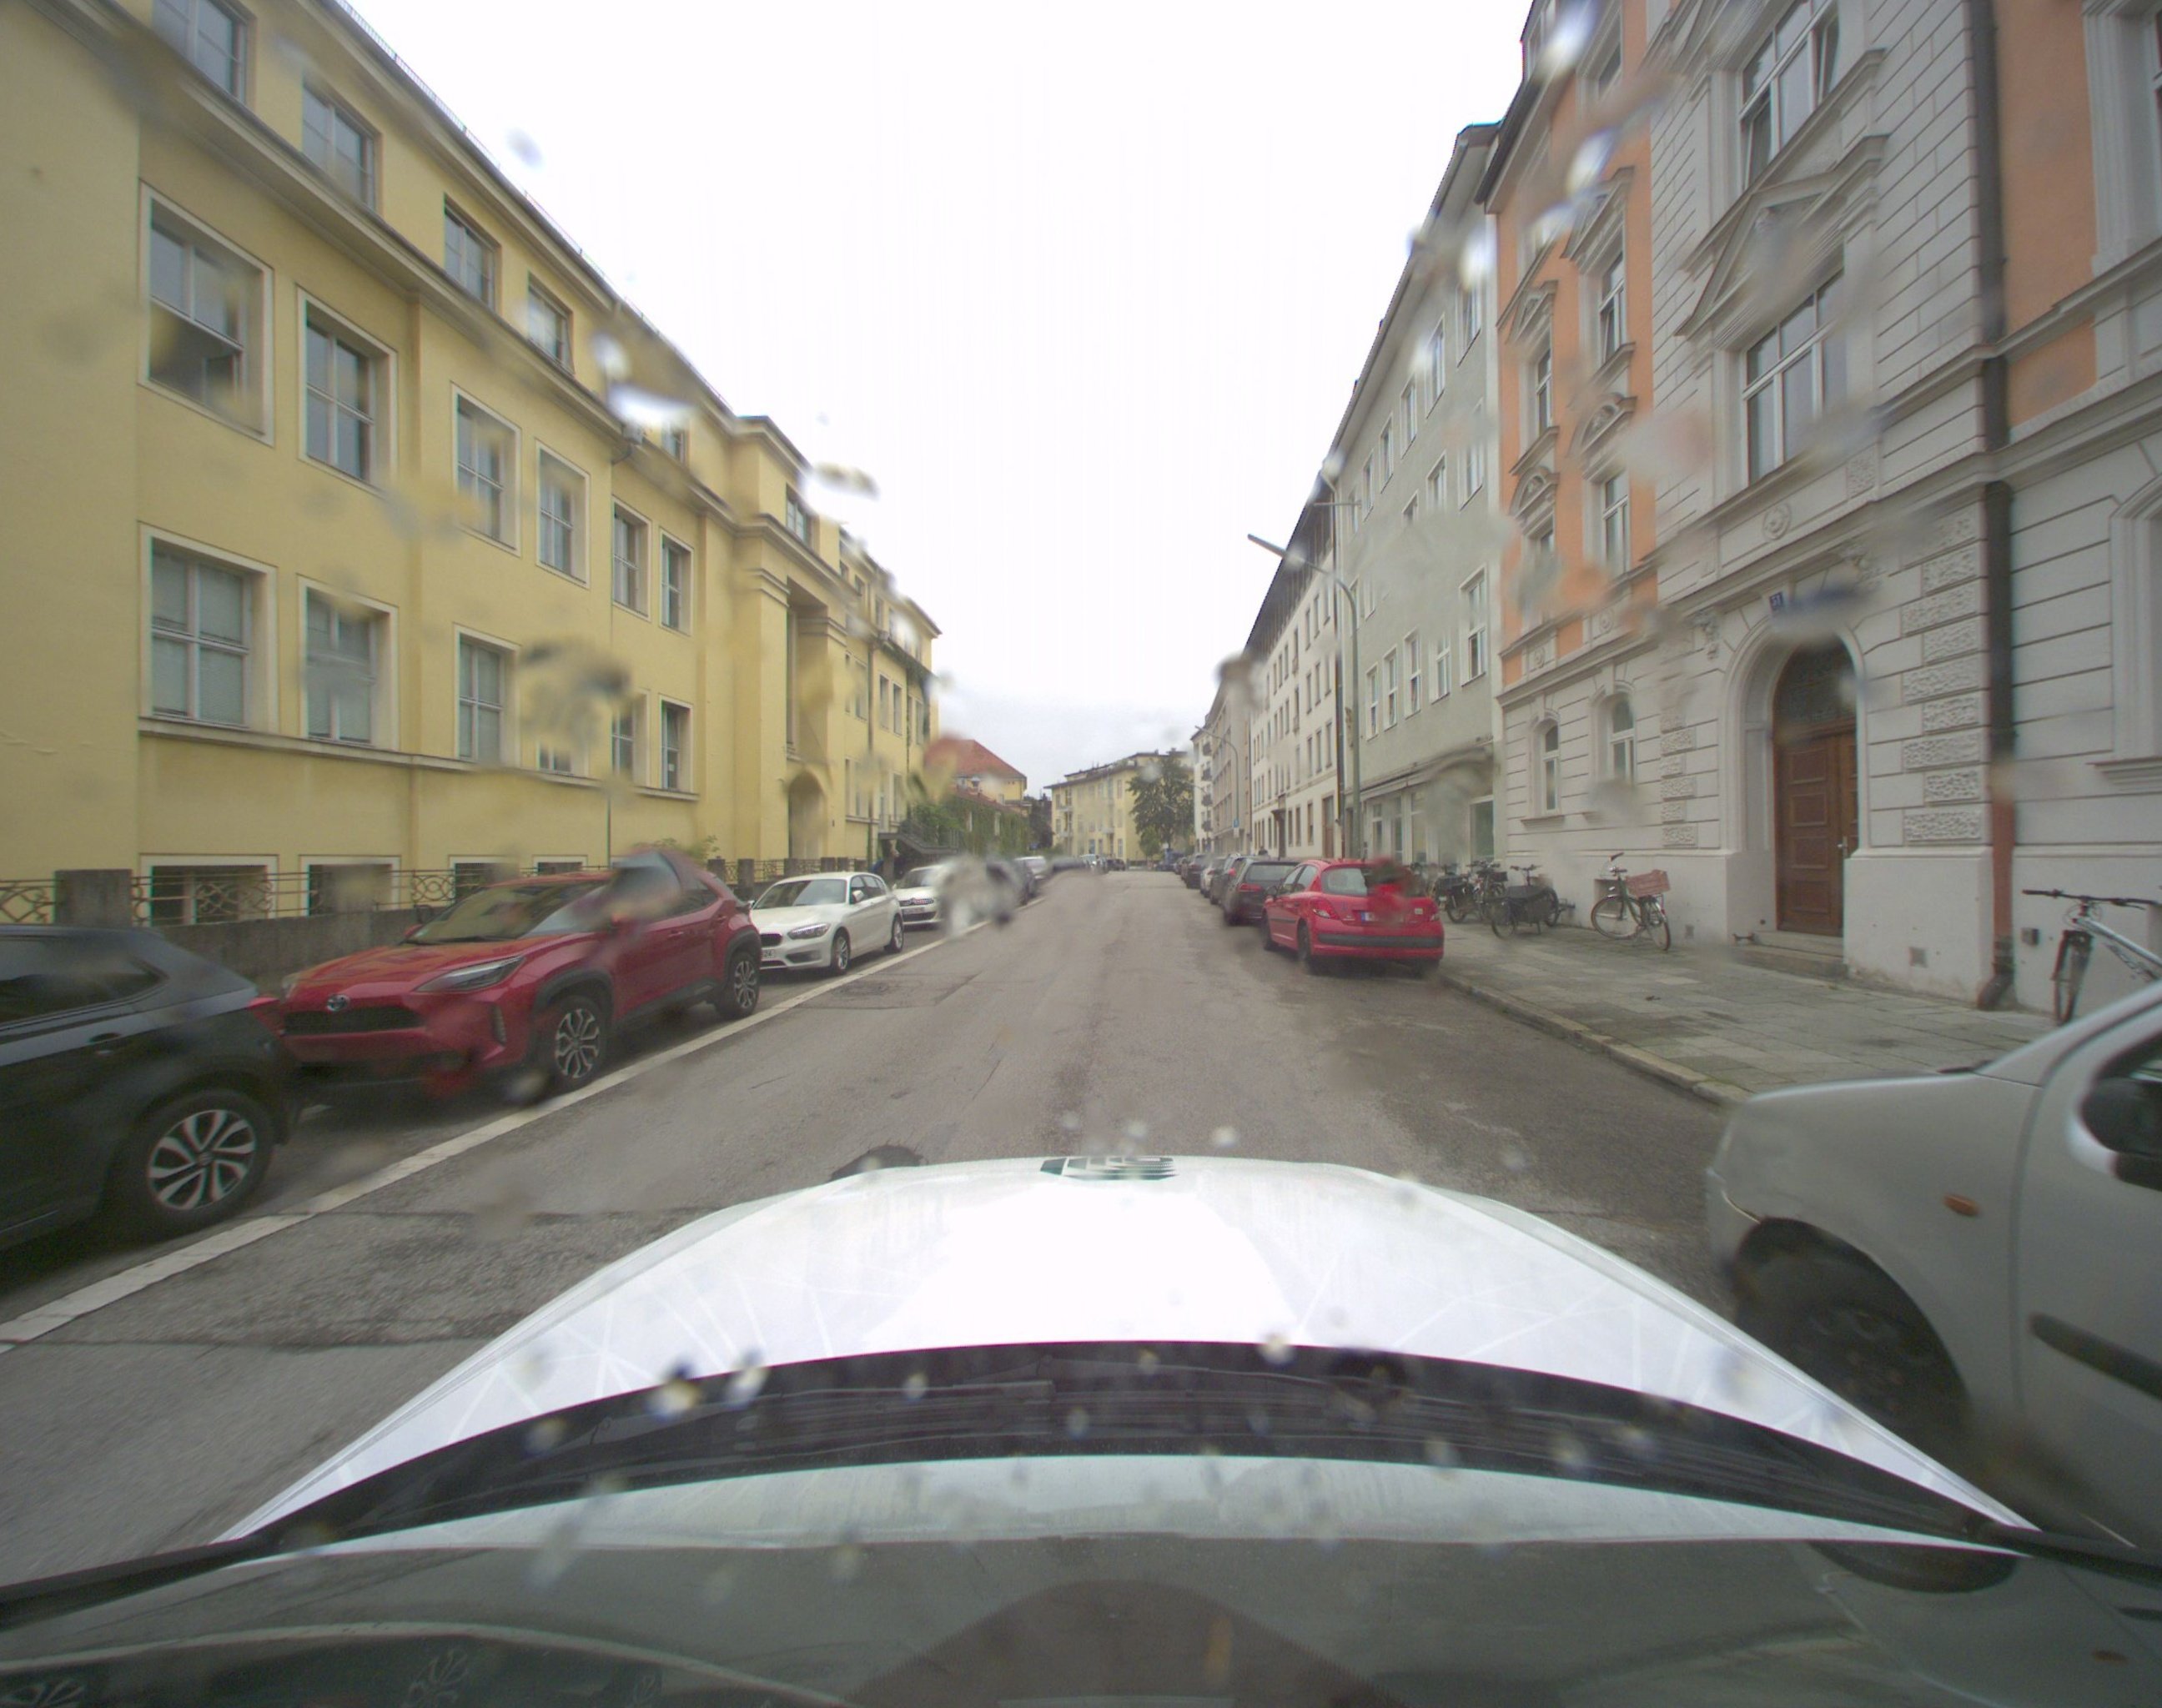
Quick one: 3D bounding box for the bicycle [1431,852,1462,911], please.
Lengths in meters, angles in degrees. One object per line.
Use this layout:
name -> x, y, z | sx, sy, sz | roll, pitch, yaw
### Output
bicycle -> 8.021, 0.589, 17.884 | 0.247, 1.255, 0.916 | -1, 0, 0

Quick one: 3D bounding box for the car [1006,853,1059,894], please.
car -> -2.052, 0.819, 35.588 | 1.738, 1.634, 4.859 | -2, -1, 2

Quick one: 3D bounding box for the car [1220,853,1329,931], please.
car -> 3.861, 0.680, 16.893 | 1.679, 1.402, 4.372 | 0, 0, 6

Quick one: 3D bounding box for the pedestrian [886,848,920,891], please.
pedestrian -> -7.257, 0.626, 33.244 | 0.894, 1.719, 1.064 | -2, 0, 20

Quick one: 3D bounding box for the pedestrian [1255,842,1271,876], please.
pedestrian -> 9.546, 0.265, 42.679 | 0.719, 1.763, 0.906 | 0, -2, 6

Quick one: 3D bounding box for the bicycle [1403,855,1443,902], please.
bicycle -> 8.792, 0.611, 21.006 | 0.393, 1.176, 1.817 | 0, -1, 5

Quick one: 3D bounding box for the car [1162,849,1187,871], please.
car -> 10.905, 0.693, 95.089 | 2.073, 2.234, 5.241 | 4, -3, -1

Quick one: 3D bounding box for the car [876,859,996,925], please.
car -> -3.446, 0.859, 20.321 | 1.776, 1.431, 4.658 | 0, 0, 5

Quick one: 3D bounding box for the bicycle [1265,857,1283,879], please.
bicycle -> 11.240, 0.815, 47.439 | 0.511, 1.222, 1.987 | -1, 0, -2

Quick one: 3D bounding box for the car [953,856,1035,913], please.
car -> -2.623, 0.894, 25.512 | 1.691, 1.497, 4.154 | -4, -1, 5

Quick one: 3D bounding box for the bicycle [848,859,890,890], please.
bicycle -> -8.948, 0.881, 34.433 | 1.618, 1.268, 0.528 | -1, 0, 6

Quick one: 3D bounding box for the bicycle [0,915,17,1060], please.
bicycle -> -9.269, 1.105, 5.787 | 0.533, 1.185, 2.109 | -1, 0, 5

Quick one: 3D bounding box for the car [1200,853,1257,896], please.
car -> 5.285, 0.705, 29.701 | 1.664, 1.429, 4.537 | 1, 0, 5

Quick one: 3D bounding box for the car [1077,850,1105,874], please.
car -> 0.887, 0.662, 69.781 | 1.877, 1.889, 4.782 | -3, -1, 6

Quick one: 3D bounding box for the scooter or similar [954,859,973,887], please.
scooter or similar -> -5.784, 0.929, 40.154 | 0.557, 1.369, 1.503 | -1, 0, 5

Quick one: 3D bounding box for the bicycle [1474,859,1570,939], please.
bicycle -> 7.102, 0.679, 13.074 | 2.102, 1.139, 0.577 | -1, 0, -39

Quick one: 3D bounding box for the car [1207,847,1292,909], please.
car -> 4.744, 0.621, 23.520 | 1.699, 1.592, 4.364 | 1, 0, 2

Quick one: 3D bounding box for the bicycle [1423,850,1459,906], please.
bicycle -> 8.290, 0.532, 18.777 | 0.247, 1.255, 1.234 | -1, 0, 0

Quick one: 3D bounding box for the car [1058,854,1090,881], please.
car -> -0.398, 0.896, 54.023 | 1.717, 1.629, 4.470 | -3, -1, 3

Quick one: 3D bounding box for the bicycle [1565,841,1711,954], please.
bicycle -> 7.541, 0.540, 11.169 | 0.593, 1.385, 2.093 | -1, 0, 2

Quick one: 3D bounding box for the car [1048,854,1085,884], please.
car -> -0.847, 0.882, 49.180 | 1.781, 1.586, 4.822 | -3, -1, 3

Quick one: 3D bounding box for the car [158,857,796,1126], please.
car -> -4.370, 0.835, 7.065 | 1.950, 1.482, 4.532 | -3, -1, 3

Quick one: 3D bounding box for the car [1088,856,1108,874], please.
car -> 1.718, 1.113, 80.059 | 1.690, 1.643, 4.495 | -3, -1, 4

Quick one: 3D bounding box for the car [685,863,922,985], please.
car -> -4.011, 0.928, 12.751 | 1.786, 1.429, 4.669 | -4, -1, 3

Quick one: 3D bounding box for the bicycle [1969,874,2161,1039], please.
bicycle -> 7.255, 0.675, 5.480 | 0.593, 1.024, 1.818 | -1, 0, 2

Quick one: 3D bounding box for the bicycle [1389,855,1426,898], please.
bicycle -> 9.186, 0.601, 22.979 | 0.382, 1.158, 1.952 | -1, 0, 4

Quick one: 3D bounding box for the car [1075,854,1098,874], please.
car -> 0.460, 0.804, 64.332 | 1.584, 1.441, 4.022 | -3, -1, 3

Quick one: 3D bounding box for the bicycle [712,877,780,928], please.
bicycle -> -7.524, 1.074, 18.376 | 0.533, 1.063, 1.646 | 0, -1, 15

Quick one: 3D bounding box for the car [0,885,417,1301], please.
car -> -4.703, 0.912, 2.411 | 1.743, 1.405, 4.356 | -3, -1, 2

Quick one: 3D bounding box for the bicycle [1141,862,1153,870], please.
bicycle -> 10.742, 1.941, 132.746 | 1.903, 1.201, 0.599 | -1, -1, 42

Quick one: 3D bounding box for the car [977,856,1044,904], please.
car -> -2.553, 0.917, 30.638 | 1.696, 1.502, 4.499 | -6, -1, 4

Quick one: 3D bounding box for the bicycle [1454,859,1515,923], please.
bicycle -> 7.612, 0.662, 15.320 | 0.614, 1.089, 1.826 | -2, 0, 40

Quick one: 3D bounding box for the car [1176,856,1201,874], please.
car -> 8.951, 0.936, 68.121 | 1.738, 1.388, 4.957 | 1, 0, 3

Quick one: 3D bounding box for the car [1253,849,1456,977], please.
car -> 3.716, 0.702, 11.842 | 1.680, 1.500, 4.149 | 1, 0, 2

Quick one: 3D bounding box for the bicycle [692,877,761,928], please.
bicycle -> -8.040, 1.077, 18.547 | 0.533, 1.063, 1.646 | 0, -1, 15

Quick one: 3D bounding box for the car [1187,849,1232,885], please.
car -> 5.743, 0.570, 36.852 | 1.830, 1.522, 4.717 | 1, 0, 6

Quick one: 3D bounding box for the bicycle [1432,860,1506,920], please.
bicycle -> 7.602, 0.682, 15.920 | 1.856, 1.067, 0.510 | -1, 0, -38

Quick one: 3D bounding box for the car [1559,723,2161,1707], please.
car -> 2.667, 0.629, 1.117 | 1.677, 1.673, 3.800 | 1, 0, -3

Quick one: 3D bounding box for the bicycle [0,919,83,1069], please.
bicycle -> -8.898, 1.131, 5.934 | 0.533, 1.148, 2.109 | -1, 0, 5

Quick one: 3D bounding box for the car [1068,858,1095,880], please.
car -> 0.062, 1.047, 59.082 | 1.596, 1.430, 4.256 | -4, -1, 4

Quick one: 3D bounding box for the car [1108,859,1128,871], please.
car -> 5.954, 1.761, 132.159 | 1.766, 1.874, 4.354 | 4, -1, -17
